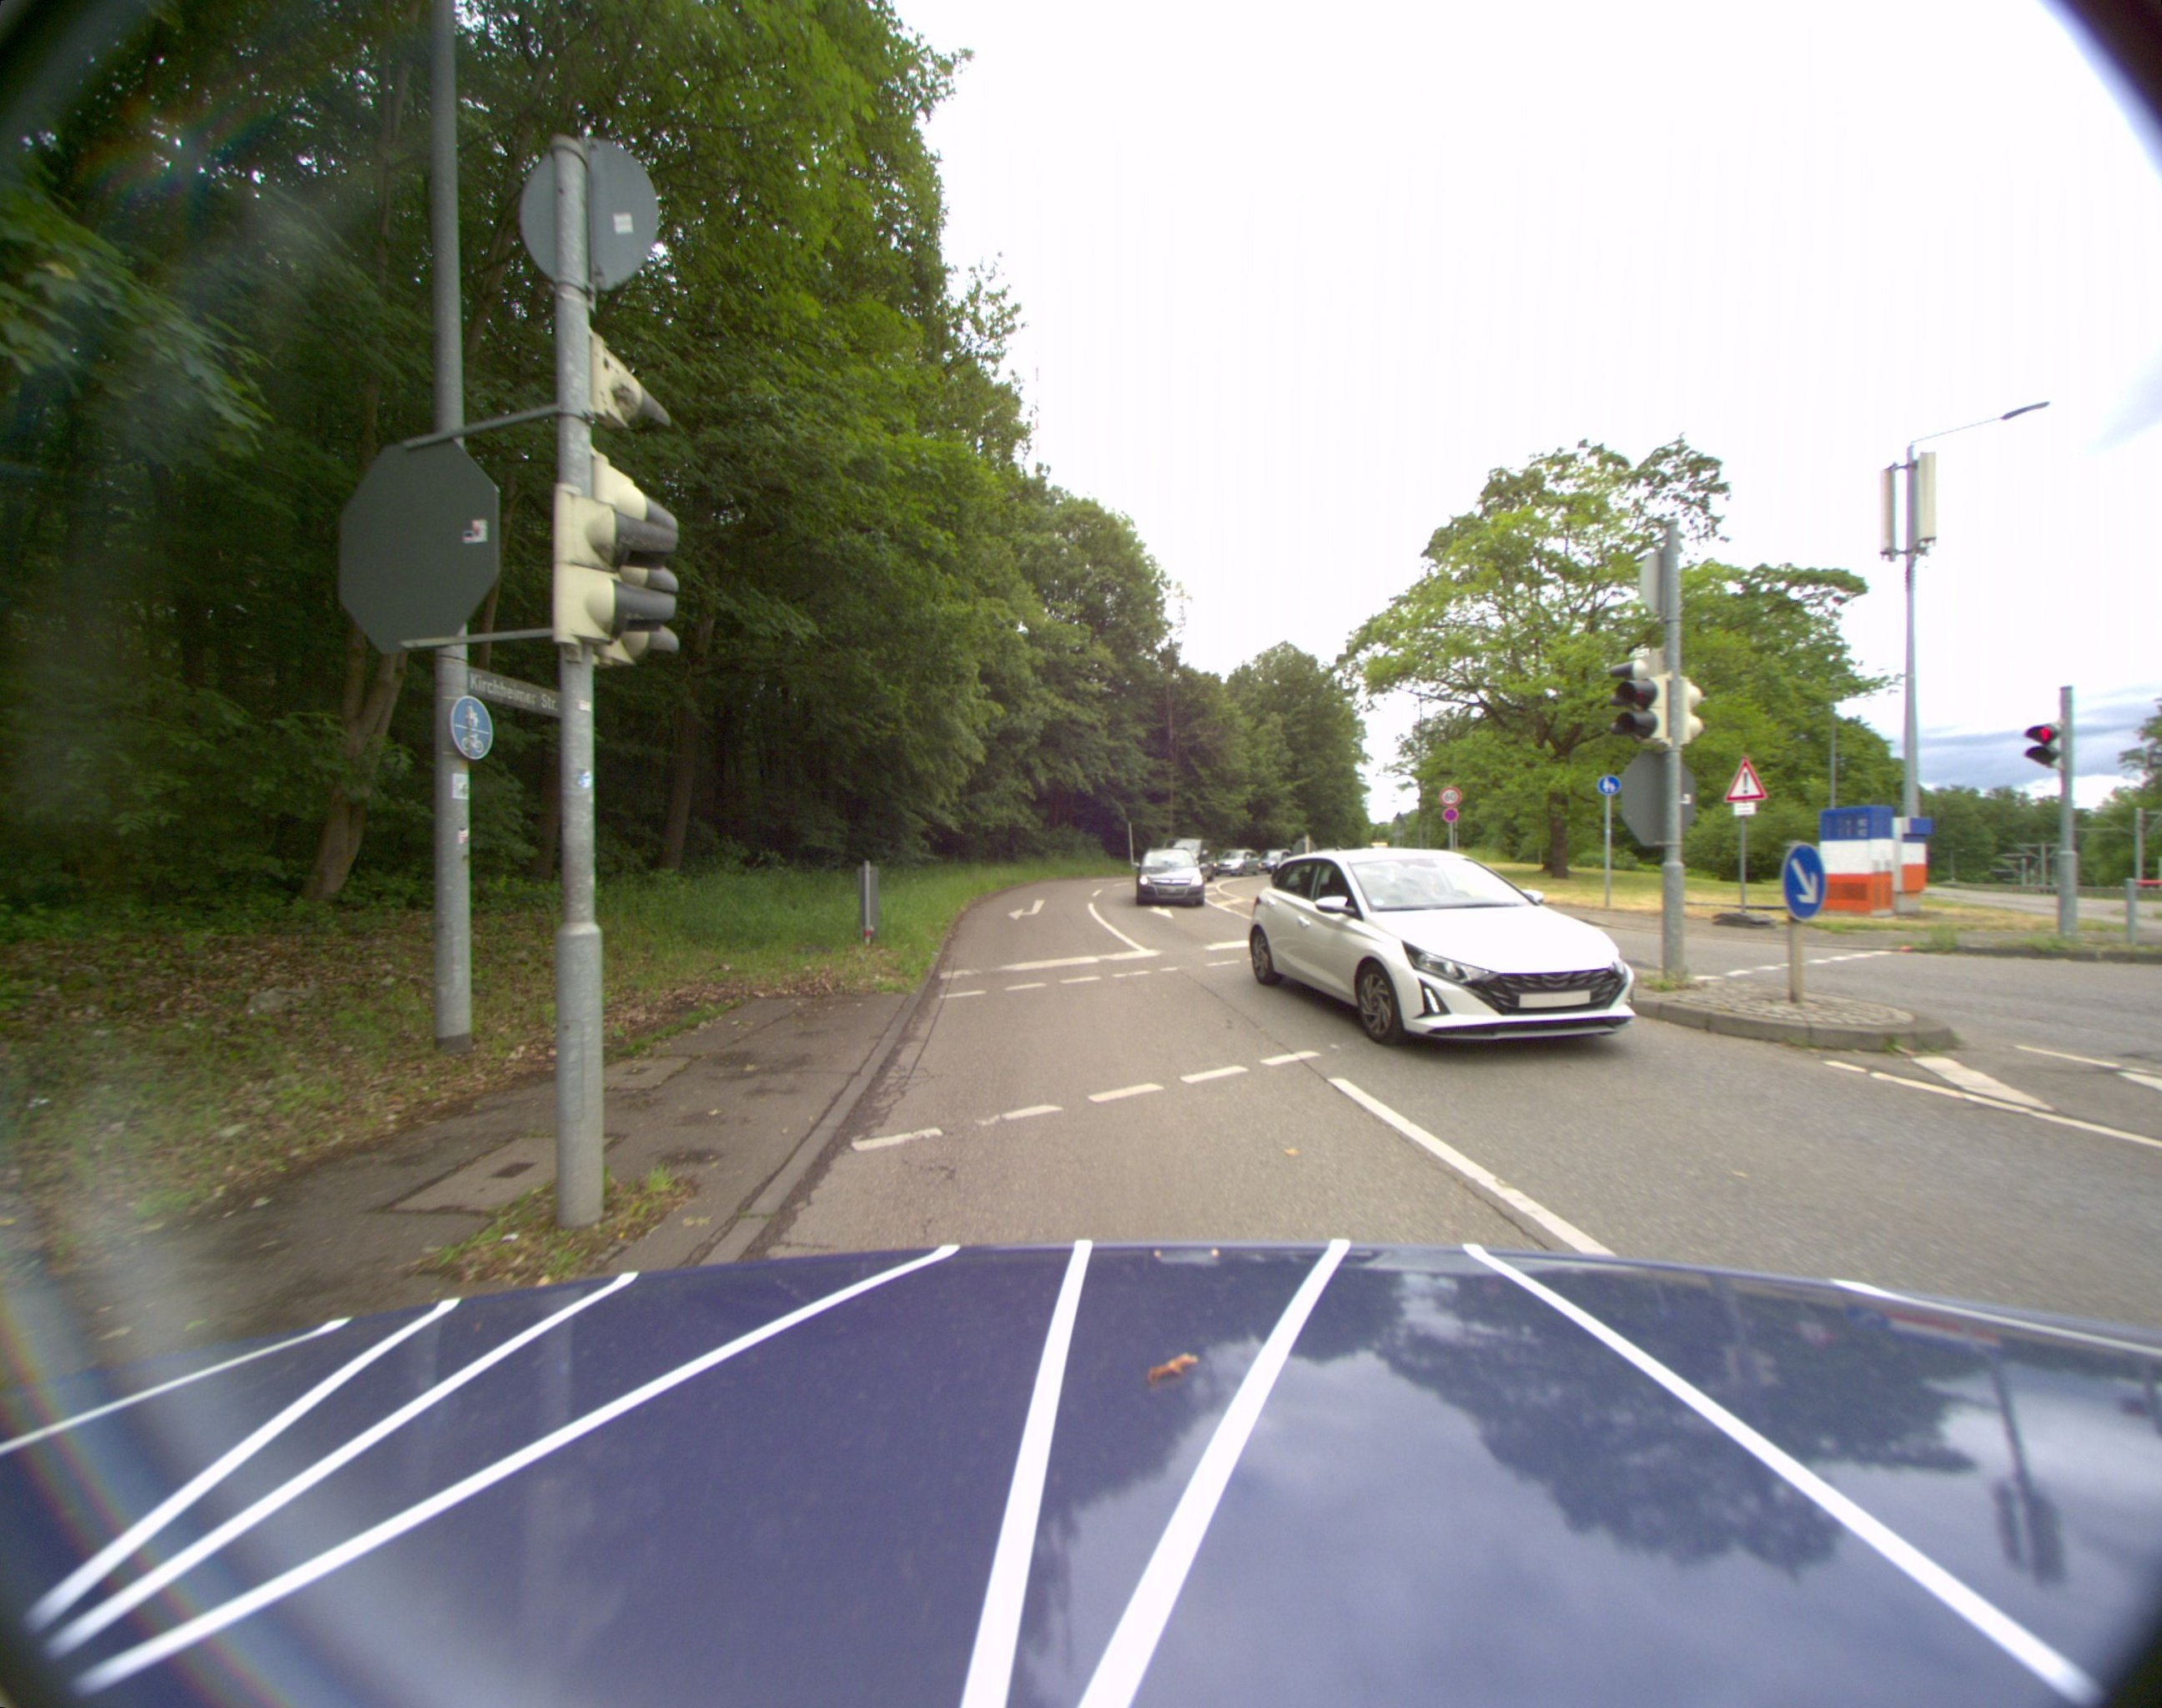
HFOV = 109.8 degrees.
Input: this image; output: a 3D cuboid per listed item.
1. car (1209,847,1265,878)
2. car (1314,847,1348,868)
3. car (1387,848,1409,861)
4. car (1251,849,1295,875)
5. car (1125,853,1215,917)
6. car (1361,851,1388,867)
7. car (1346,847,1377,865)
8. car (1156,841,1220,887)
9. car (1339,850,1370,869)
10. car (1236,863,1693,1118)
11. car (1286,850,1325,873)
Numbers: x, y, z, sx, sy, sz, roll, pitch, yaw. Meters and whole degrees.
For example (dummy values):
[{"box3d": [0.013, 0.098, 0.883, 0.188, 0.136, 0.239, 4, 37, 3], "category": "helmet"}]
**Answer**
[{"box3d": [8.725, 0.450, 42.401, 1.789, 1.664, 3.999, 0, 1, 32], "category": "car"}, {"box3d": [18.763, 0.236, 56.970, 1.774, 1.491, 3.880, 1, 1, 28], "category": "car"}, {"box3d": [36.805, 0.016, 88.132, 1.774, 1.491, 3.880, 1, 1, 31], "category": "car"}, {"box3d": [11.987, 0.476, 47.306, 1.774, 1.491, 3.880, 1, 1, 28], "category": "car"}, {"box3d": [2.494, 0.733, 20.328, 1.801, 1.471, 4.475, 1, 1, 14], "category": "car"}, {"box3d": [28.580, 0.507, 73.958, 1.774, 1.491, 3.880, 1, 1, 31], "category": "car"}, {"box3d": [24.779, 0.134, 67.068, 1.774, 1.491, 3.880, 1, 1, 31], "category": "car"}, {"box3d": [4.778, 0.389, 33.368, 1.987, 1.862, 4.538, 1, 1, 19], "category": "car"}, {"box3d": [22.194, 0.421, 61.625, 1.774, 1.491, 3.880, 1, 1, 28], "category": "car"}, {"box3d": [2.840, 0.871, 6.777, 1.655, 1.471, 4.070, 1, 1, -6], "category": "car"}, {"box3d": [15.215, 0.477, 51.411, 1.774, 1.491, 3.880, 1, 1, 28], "category": "car"}]
